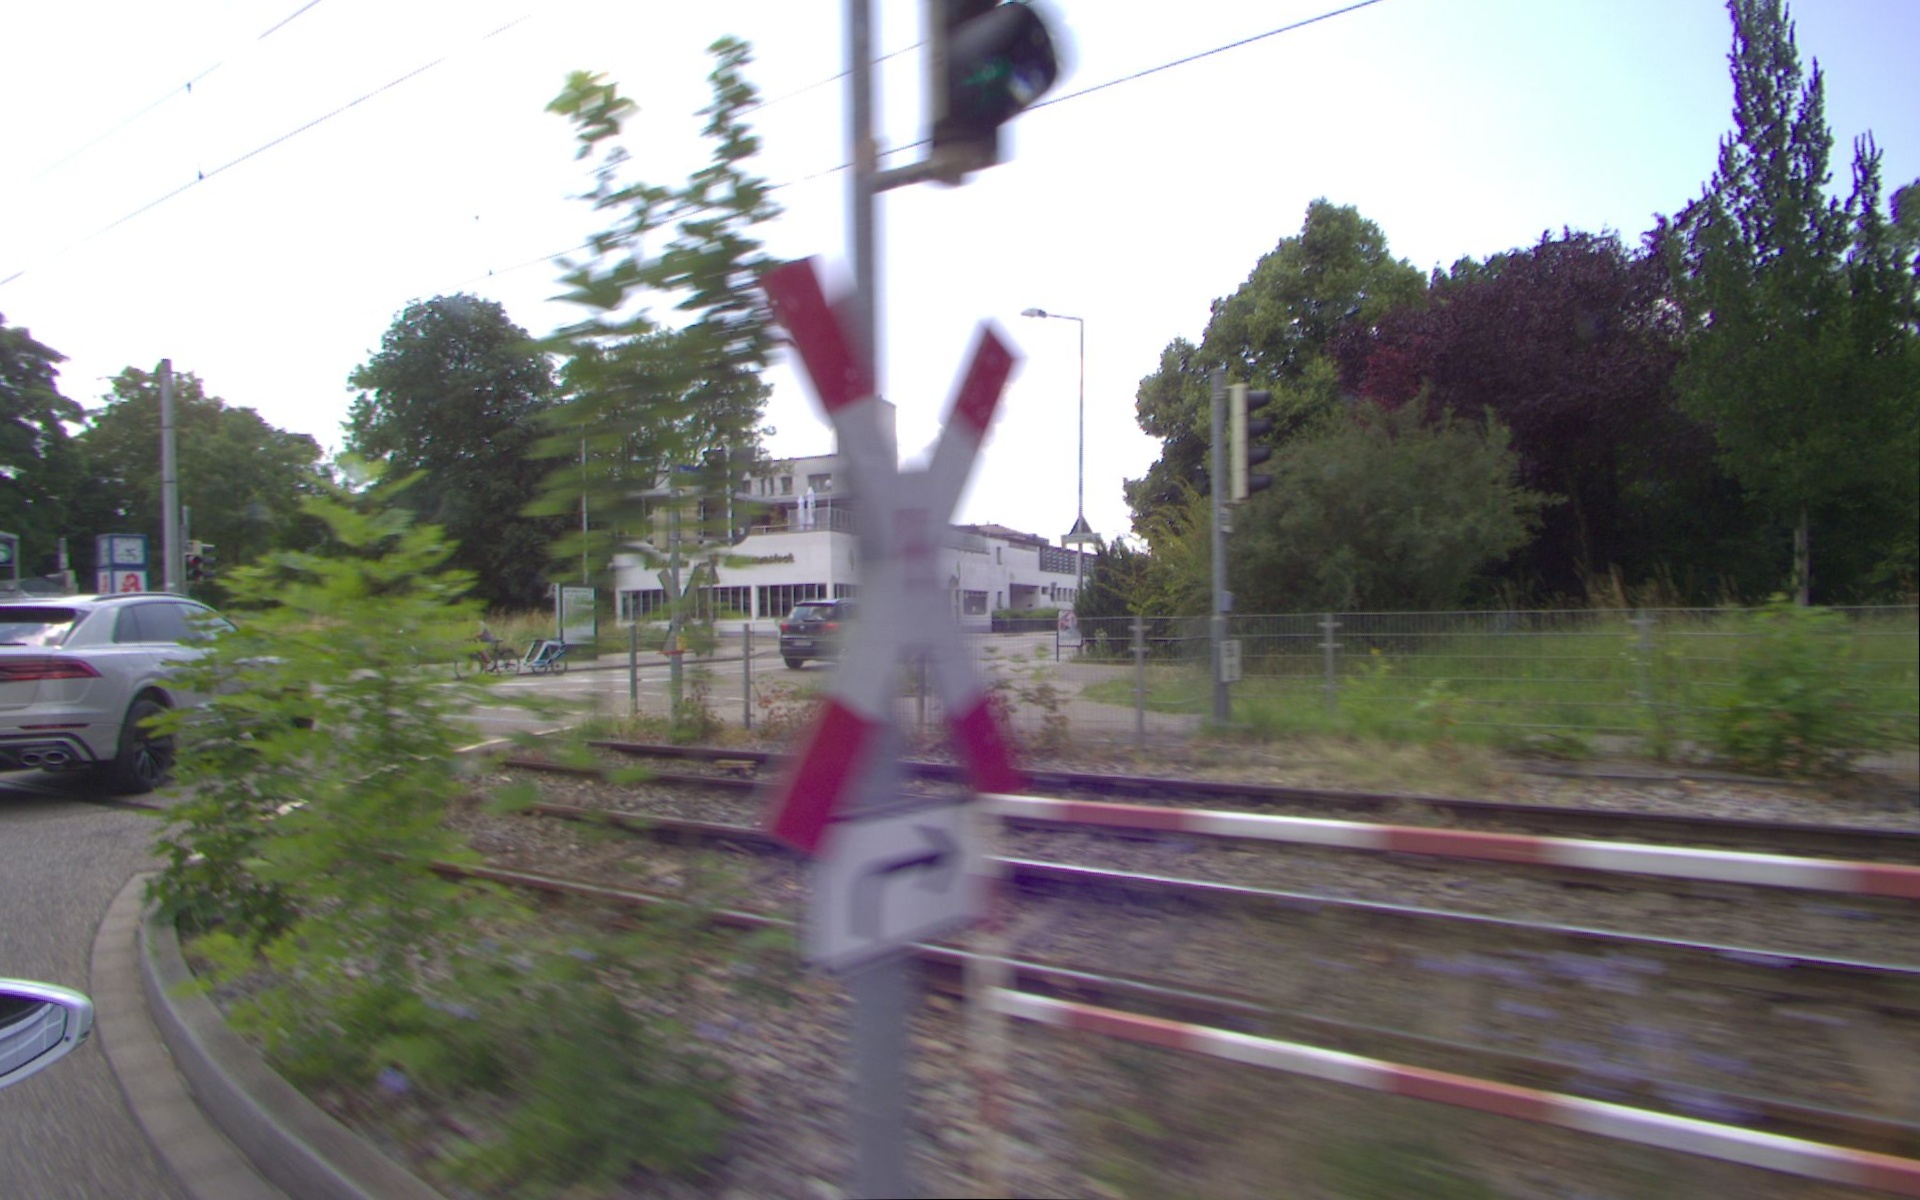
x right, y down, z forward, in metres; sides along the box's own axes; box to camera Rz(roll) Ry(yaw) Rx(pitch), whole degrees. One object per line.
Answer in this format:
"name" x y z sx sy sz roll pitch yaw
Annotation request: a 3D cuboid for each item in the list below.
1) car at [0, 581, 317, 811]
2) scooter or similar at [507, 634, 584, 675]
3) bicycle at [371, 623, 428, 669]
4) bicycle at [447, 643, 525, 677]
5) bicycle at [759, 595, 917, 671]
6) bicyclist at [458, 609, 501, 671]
"car" -8.057 0.765 9.529 1.952 1.705 4.568 -1 -1 -15
"scooter or similar" -10.807 1.415 26.148 0.949 0.992 1.570 -1 0 33
"bicycle" -15.424 1.249 27.593 0.688 1.147 1.660 0 1 -3
"bicycle" -11.775 1.478 24.924 0.547 0.775 1.718 -1 -2 33
"bicycle" -2.909 0.783 24.879 1.968 1.697 4.194 -1 -1 25
"bicyclist" -11.873 0.972 24.737 0.449 1.494 0.837 -1 0 33
